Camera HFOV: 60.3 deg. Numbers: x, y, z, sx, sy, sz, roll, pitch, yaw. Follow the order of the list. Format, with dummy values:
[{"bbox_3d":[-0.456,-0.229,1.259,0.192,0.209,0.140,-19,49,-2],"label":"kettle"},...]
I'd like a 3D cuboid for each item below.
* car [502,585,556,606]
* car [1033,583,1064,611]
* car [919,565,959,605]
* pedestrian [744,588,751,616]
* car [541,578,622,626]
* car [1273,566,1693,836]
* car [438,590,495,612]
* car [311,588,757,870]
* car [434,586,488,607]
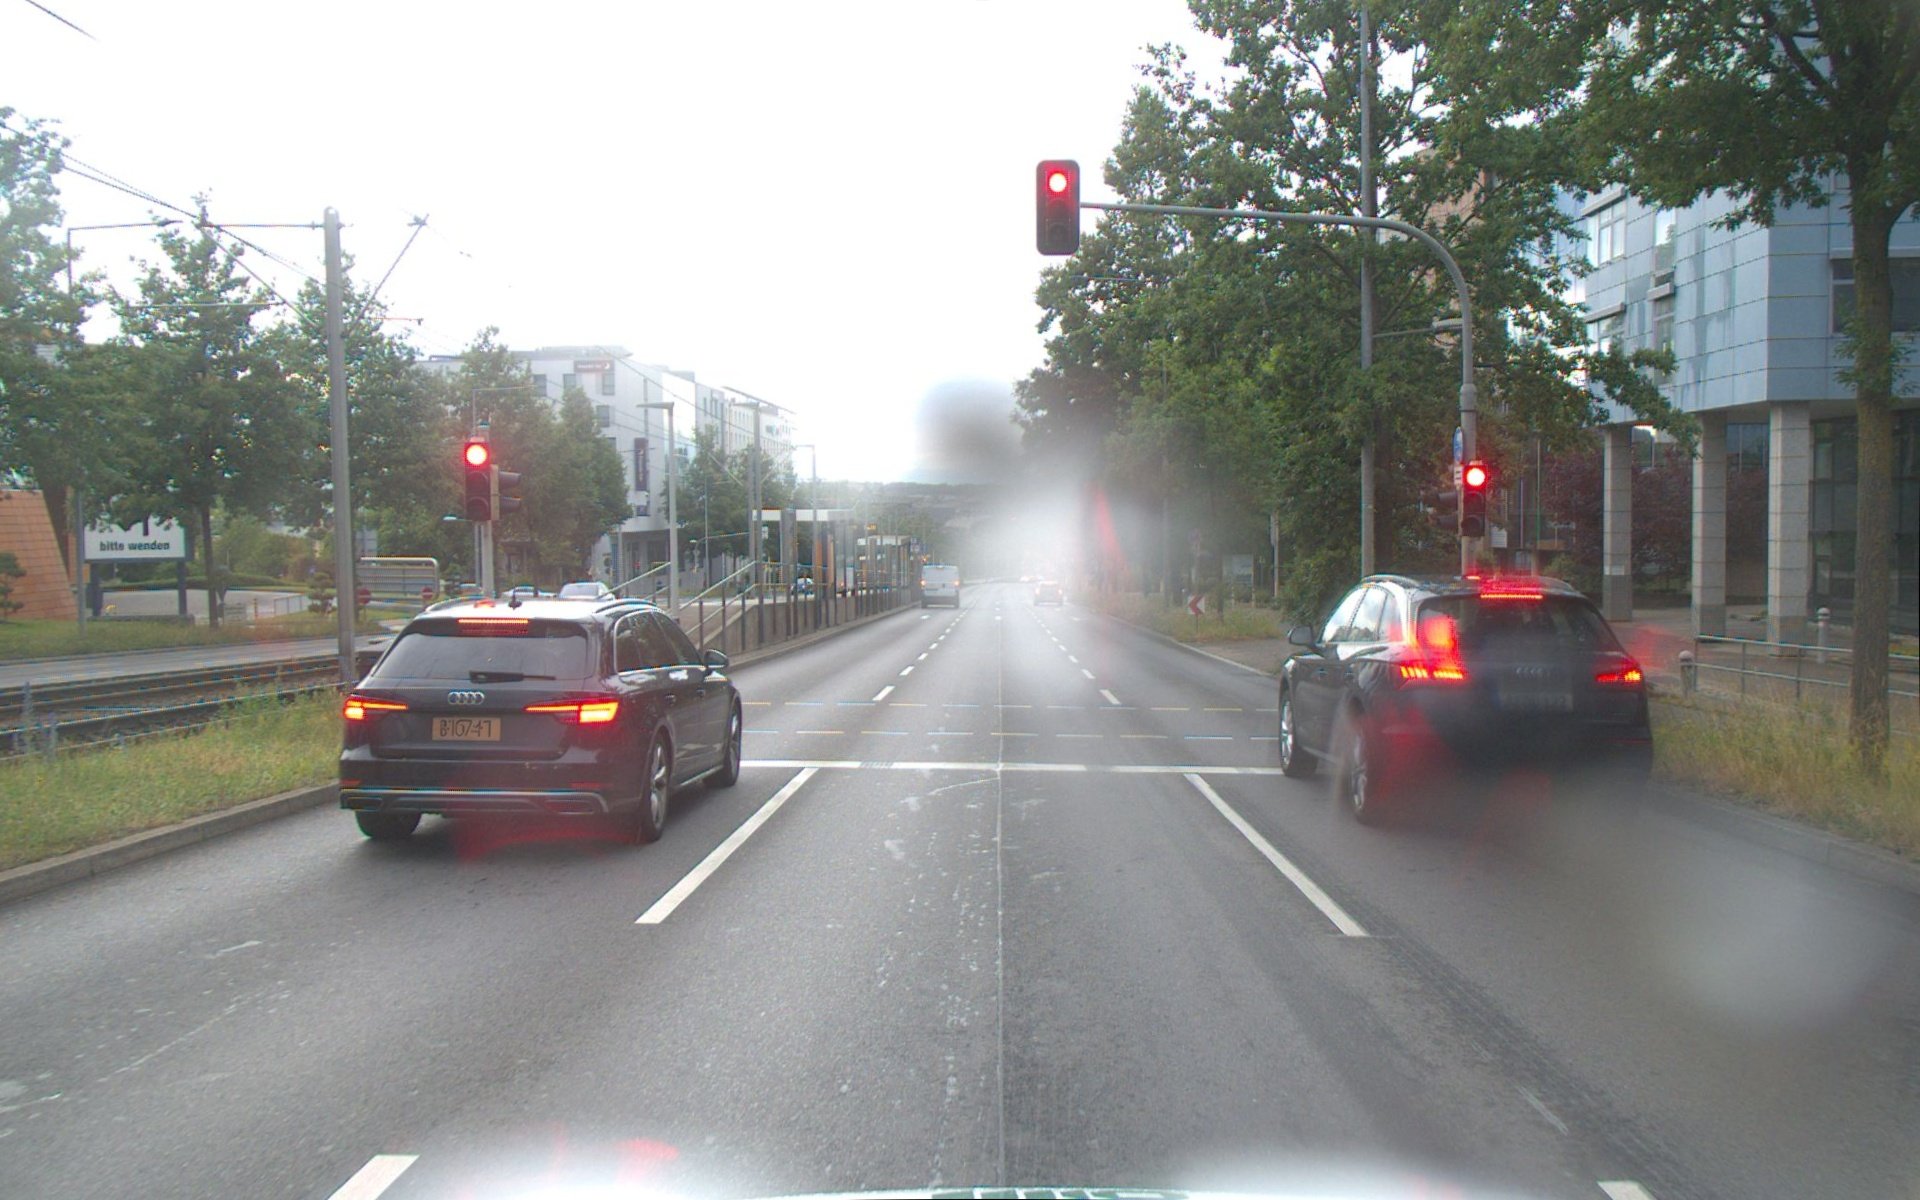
[{"bbox_3d":[-33.758,-0.349,129.582,3.790,1.461,1.655,-2,0,-4],"label":"car"},{"bbox_3d":[5.418,-0.209,101.618,1.737,1.720,3.846,0,0,1],"label":"car"},{"bbox_3d":[-1.123,-0.804,89.967,2.050,2.089,4.607,0,0,1],"label":"car"},{"bbox_3d":[-14.736,0.111,114.721,0.465,1.954,0.490,0,0,1],"label":"pedestrian"},{"bbox_3d":[-14.724,0.062,64.598,1.953,1.749,4.841,-2,0,0],"label":"car"},{"bbox_3d":[3.620,0.601,12.344,1.780,1.641,4.471,0,0,1],"label":"car"},{"bbox_3d":[-32.113,0.045,107.669,3.298,1.411,1.434,1,1,18],"label":"car"},{"bbox_3d":[-2.552,0.669,11.078,1.744,1.492,4.514,0,0,1],"label":"car"},{"bbox_3d":[-39.806,-0.279,131.992,4.019,1.461,1.650,-2,0,-14],"label":"car"}]
